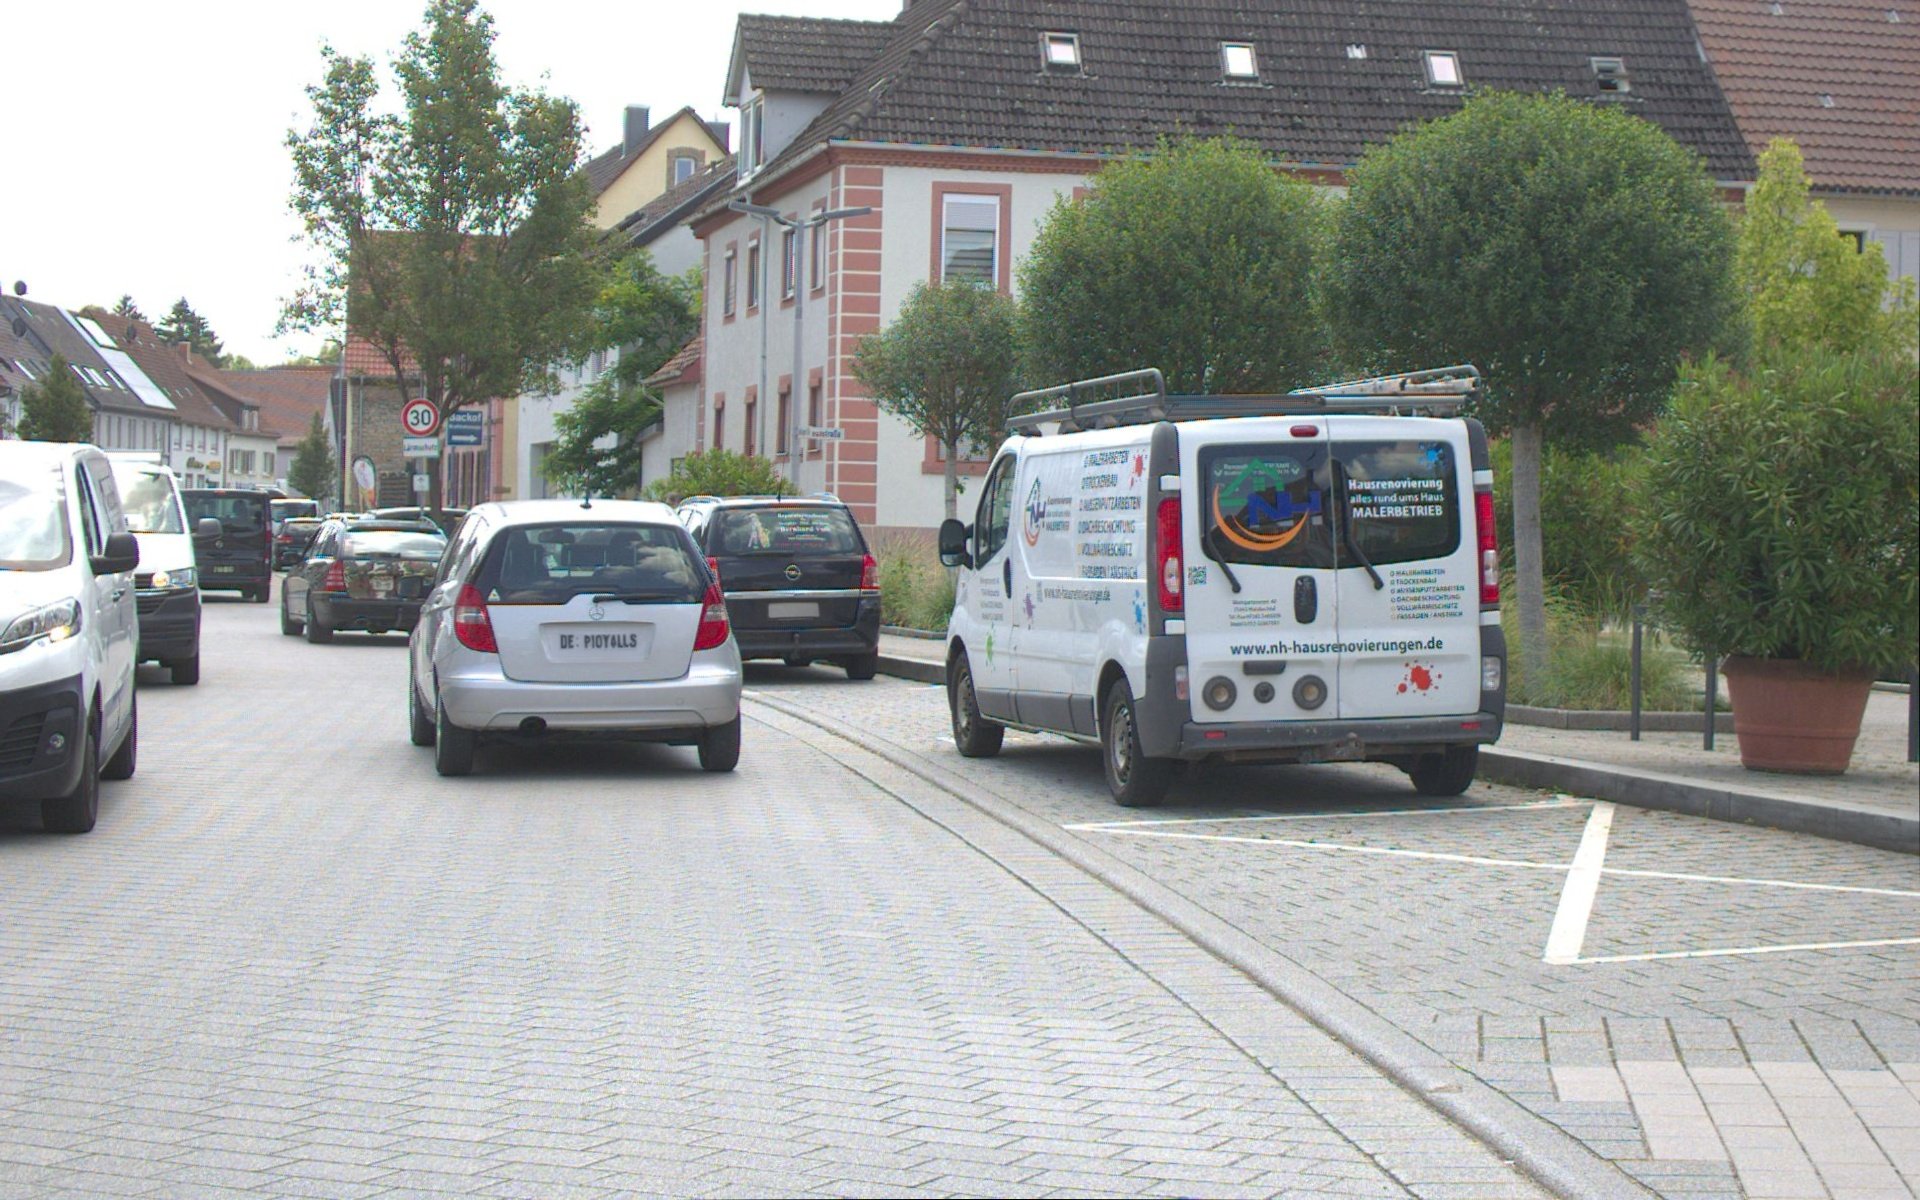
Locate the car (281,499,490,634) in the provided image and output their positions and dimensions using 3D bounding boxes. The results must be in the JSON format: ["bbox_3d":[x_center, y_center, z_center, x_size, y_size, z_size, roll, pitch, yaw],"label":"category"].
[{"bbox_3d":[-6.564,-0.410,38.998,1.944,1.402,4.002,1,2,-15],"label":"car"}]

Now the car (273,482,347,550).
[{"bbox_3d":[-19.847,-2.569,104.816,1.891,1.975,4.933,-1,2,-14],"label":"car"}]

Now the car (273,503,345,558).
[{"bbox_3d":[-18.343,-1.972,96.793,1.774,1.490,4.163,1,2,-14],"label":"car"}]

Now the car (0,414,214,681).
[{"bbox_3d":[-7.963,-0.501,30.629,1.887,2.178,5.032,0,2,-20],"label":"car"}]

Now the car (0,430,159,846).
[{"bbox_3d":[-5.332,0.084,17.766,1.993,1.873,4.868,1,2,-10],"label":"car"}]

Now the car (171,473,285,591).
[{"bbox_3d":[-12.788,-1.182,59.932,1.768,1.881,4.448,3,0,-13],"label":"car"}]

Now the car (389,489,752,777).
[{"bbox_3d":[-2.497,0.118,21.234,1.768,1.589,4.002,0,2,-13],"label":"car"}]

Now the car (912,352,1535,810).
[{"bbox_3d":[1.261,-0.181,19.053,1.942,2.169,5.103,-1,2,-14],"label":"car"}]

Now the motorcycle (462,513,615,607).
[{"bbox_3d":[-6.474,-0.622,52.770,2.222,1.390,0.871,2,2,29],"label":"motorcycle"}]

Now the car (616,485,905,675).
[{"bbox_3d":[-1.863,-0.226,30.673,1.768,1.559,4.420,1,2,-14],"label":"car"}]

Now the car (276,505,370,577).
[{"bbox_3d":[-15.546,-1.452,83.798,1.993,1.675,4.325,1,2,-14],"label":"car"}]

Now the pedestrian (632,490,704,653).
[{"bbox_3d":[-2.964,-0.293,34.825,0.638,1.623,0.620,1,1,-11],"label":"pedestrian"}]
